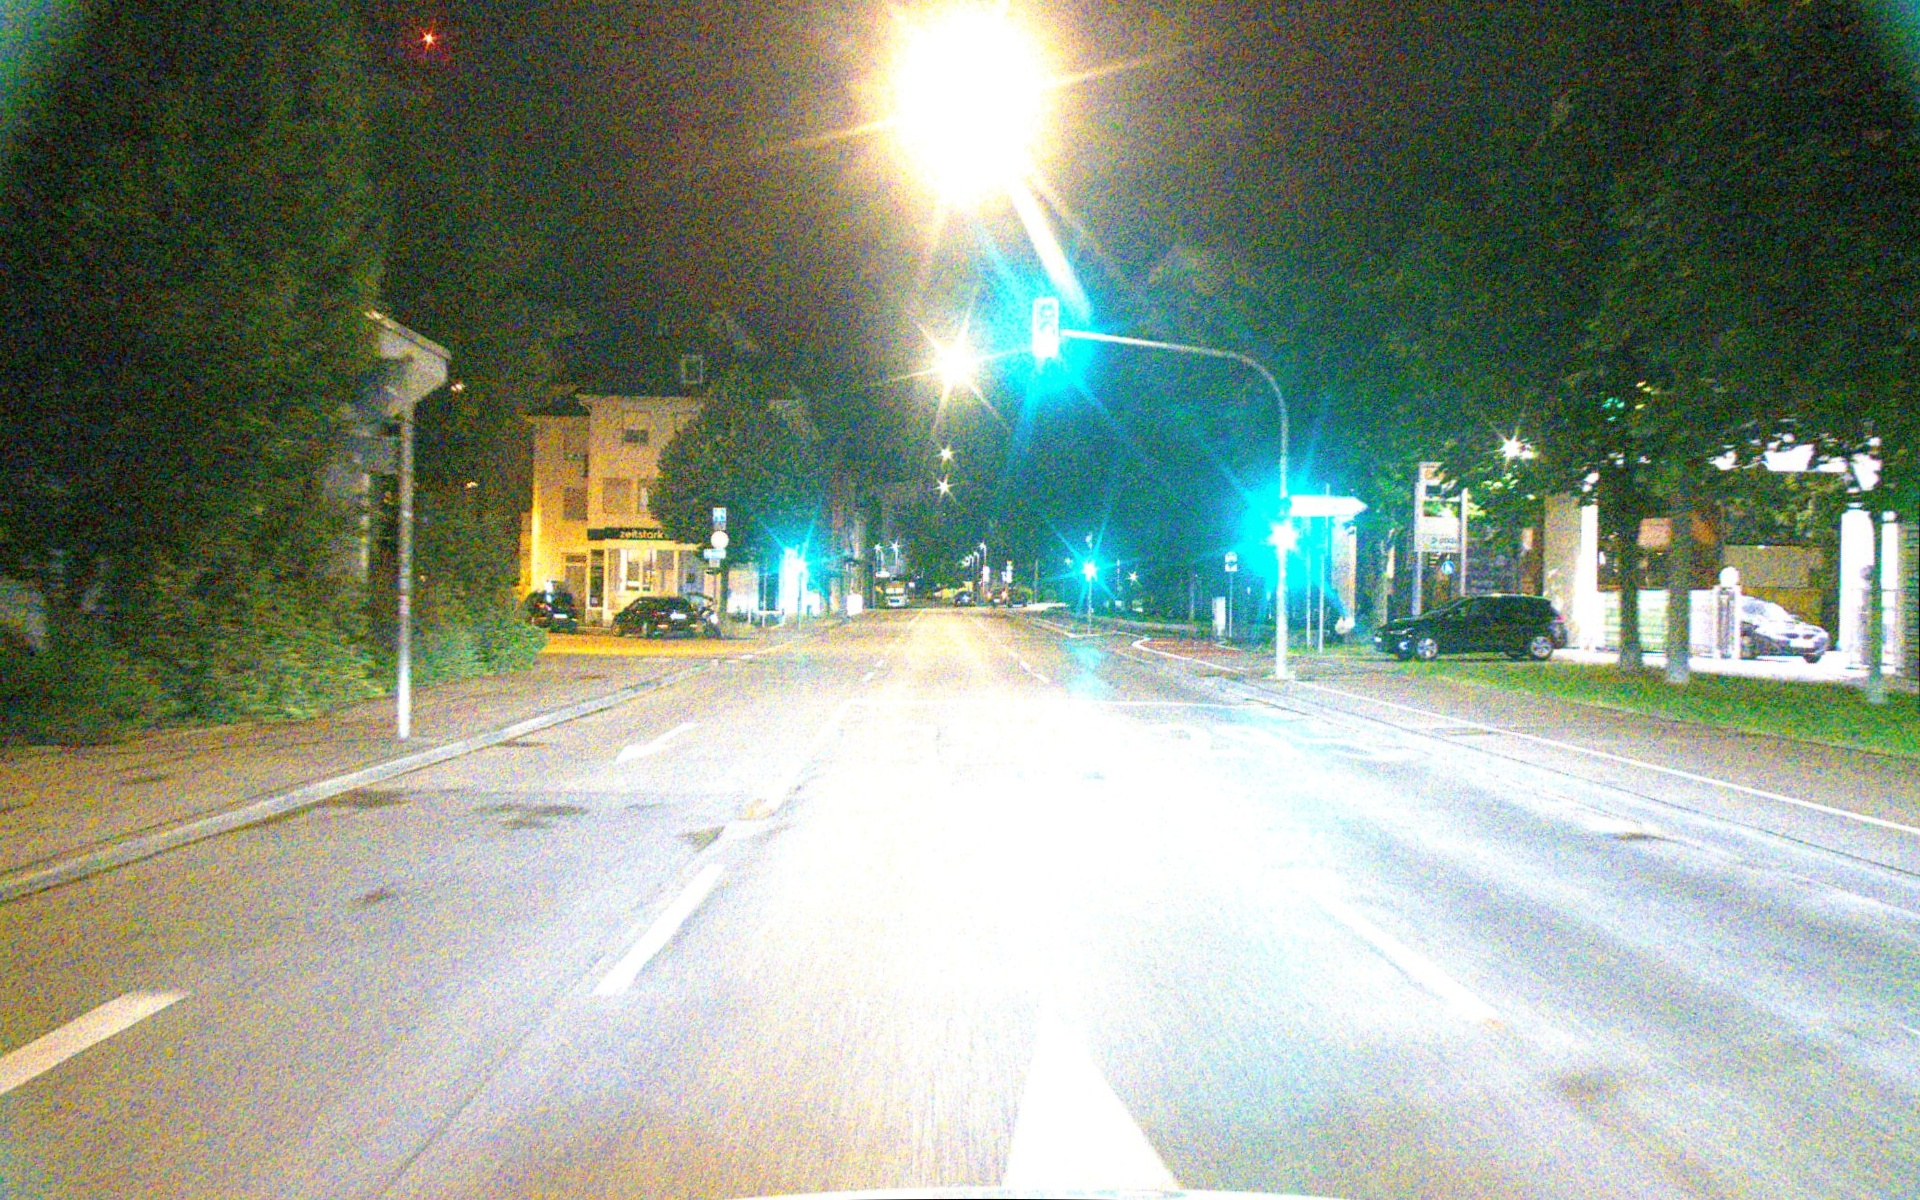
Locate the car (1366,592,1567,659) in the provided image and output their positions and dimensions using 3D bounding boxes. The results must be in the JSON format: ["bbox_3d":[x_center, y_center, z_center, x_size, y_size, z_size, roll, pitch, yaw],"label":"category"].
[{"bbox_3d":[11.417,0.571,37.480,3.999,1.480,1.786,0,-1,-2],"label":"car"}]

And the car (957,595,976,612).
[{"bbox_3d":[0.665,0.322,164.593,1.845,1.631,4.107,-1,0,1],"label":"car"}]

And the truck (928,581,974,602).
[{"bbox_3d":[-1.369,-1.236,242.200,6.642,2.894,1.998,1,0,-4],"label":"truck"}]

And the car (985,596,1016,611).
[{"bbox_3d":[3.816,0.297,154.554,1.630,1.366,3.624,0,0,24],"label":"car"}]

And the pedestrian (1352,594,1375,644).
[{"bbox_3d":[13.502,0.631,55.307,0.608,1.667,0.679,0,0,-1],"label":"pedestrian"}]

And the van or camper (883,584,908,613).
[{"bbox_3d":[-5.999,-0.094,154.130,2.114,2.580,6.225,-2,0,-1],"label":"van or camper"}]

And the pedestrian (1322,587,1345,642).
[{"bbox_3d":[12.592,0.498,55.741,0.609,1.843,0.759,0,0,-1],"label":"pedestrian"}]

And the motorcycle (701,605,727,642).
[{"bbox_3d":[-8.301,0.790,55.698,0.563,1.200,2.022,0,0,-18],"label":"motorcycle"}]

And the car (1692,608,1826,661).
[{"bbox_3d":[18.959,0.803,39.386,1.428,1.189,3.538,1,-1,-1],"label":"car"}]

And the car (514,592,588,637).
[{"bbox_3d":[-16.731,0.583,67.559,1.892,1.673,4.072,3,-2,-29],"label":"car"}]

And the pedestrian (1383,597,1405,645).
[{"bbox_3d":[14.363,0.696,54.761,0.561,1.560,0.633,0,0,-1],"label":"pedestrian"}]

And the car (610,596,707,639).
[{"bbox_3d":[-10.784,0.620,58.896,1.868,1.449,4.678,-1,0,-32],"label":"car"}]
